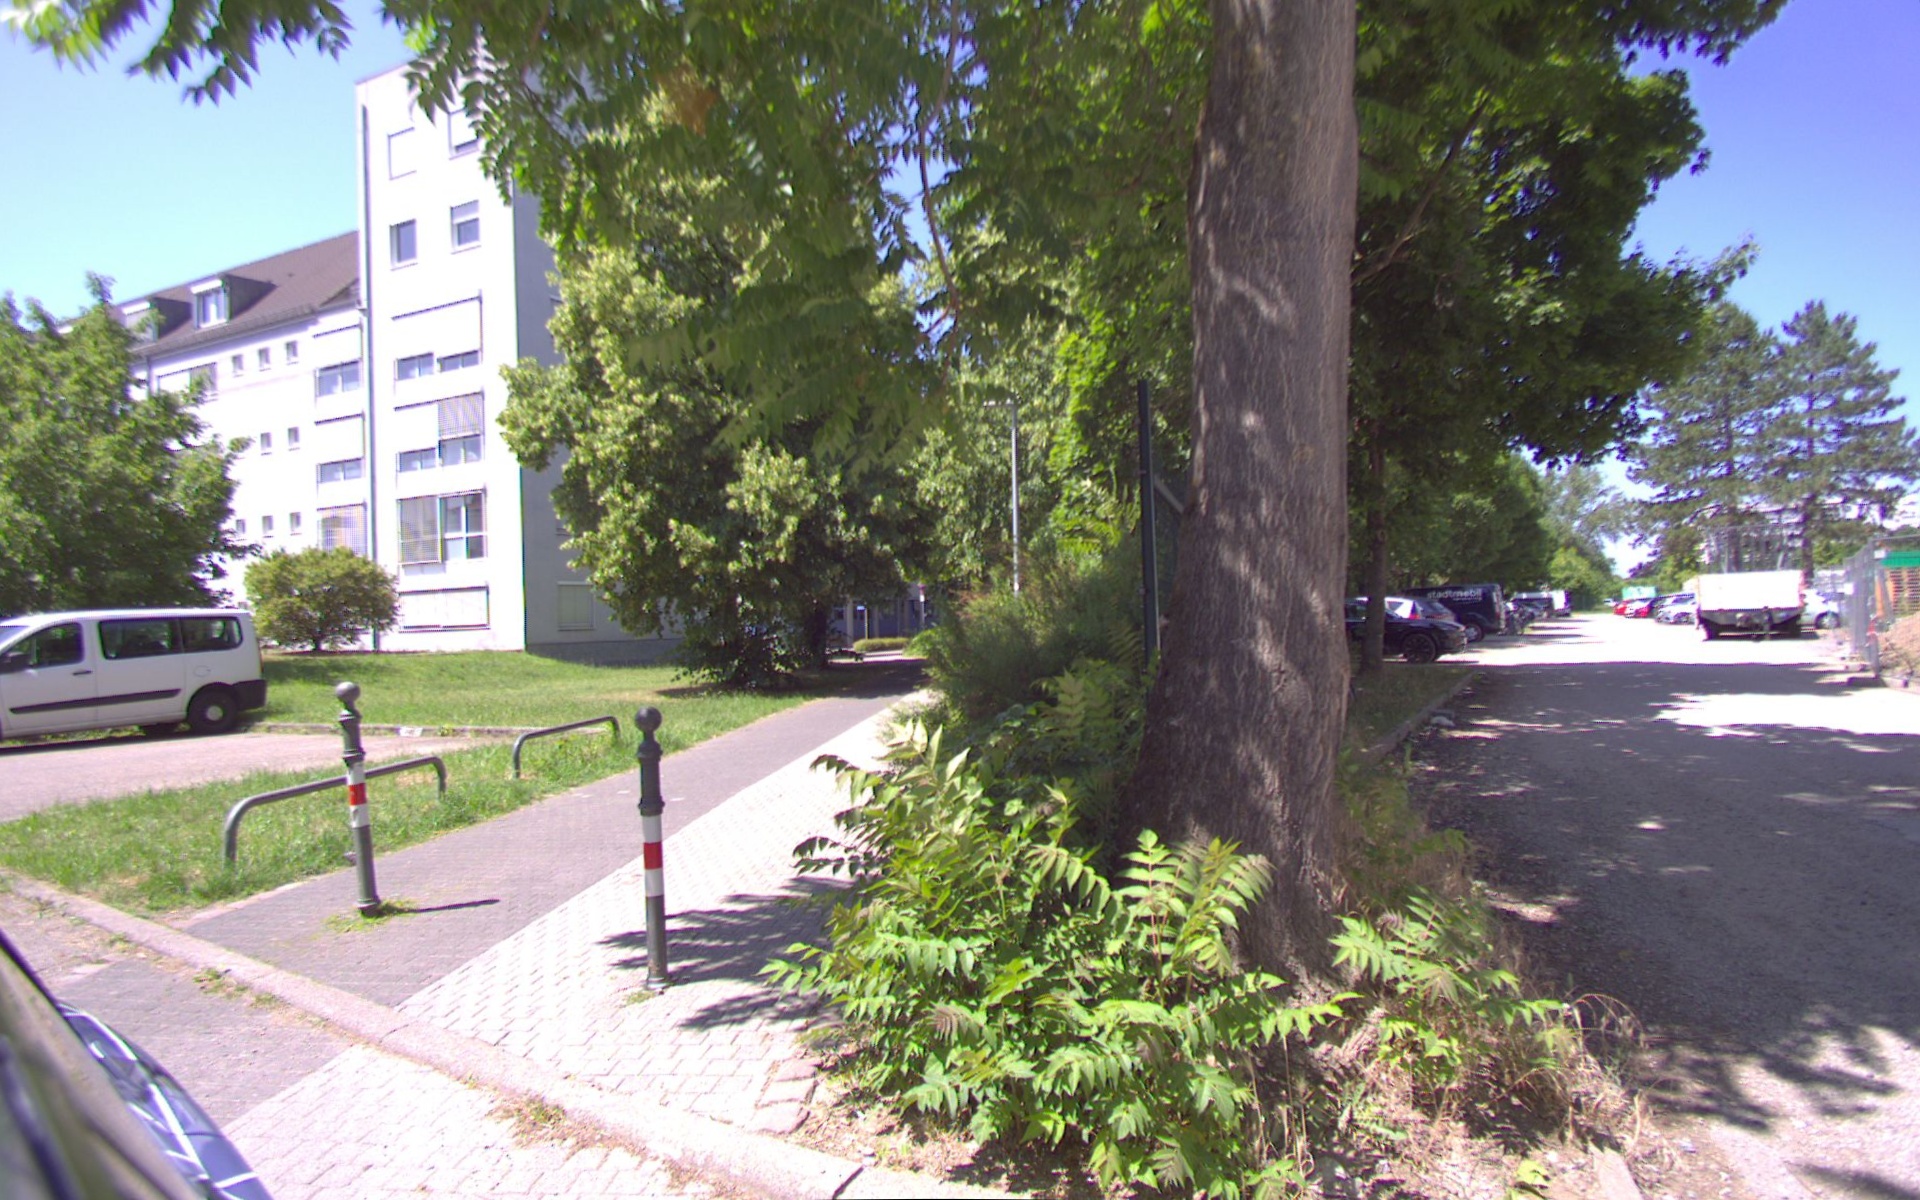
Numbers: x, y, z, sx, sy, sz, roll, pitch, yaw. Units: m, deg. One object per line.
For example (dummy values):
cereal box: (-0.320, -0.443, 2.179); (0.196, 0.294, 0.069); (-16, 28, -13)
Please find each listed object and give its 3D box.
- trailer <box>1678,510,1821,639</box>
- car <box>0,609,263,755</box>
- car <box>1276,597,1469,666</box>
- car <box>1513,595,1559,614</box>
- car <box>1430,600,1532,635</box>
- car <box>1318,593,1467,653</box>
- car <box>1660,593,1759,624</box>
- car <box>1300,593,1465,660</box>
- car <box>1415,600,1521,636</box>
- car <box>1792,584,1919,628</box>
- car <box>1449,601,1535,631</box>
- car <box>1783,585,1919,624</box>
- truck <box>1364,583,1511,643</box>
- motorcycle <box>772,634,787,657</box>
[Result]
trailer: (24.487, -0.691, 31.349); (3.039, 3.447, 8.657); (-2, -1, 39)
car: (-13.150, 1.146, 14.578); (1.990, 1.926, 4.761); (-3, -2, 26)
car: (9.744, 0.745, 23.971); (3.987, 1.514, 1.671); (-2, -1, 33)
car: (56.012, 0.450, 98.414); (3.779, 1.734, 1.721); (-2, -1, 33)
car: (22.551, 0.746, 43.849); (3.779, 1.420, 1.721); (-2, -1, 33)
car: (12.628, 0.690, 29.605); (3.776, 1.647, 1.828); (-2, -1, 31)
car: (37.191, 0.434, 50.333); (3.779, 1.420, 1.721); (-2, -1, 33)
car: (11.108, 0.703, 26.665); (3.776, 1.647, 1.828); (-2, -1, 31)
car: (21.197, 0.768, 42.274); (3.779, 1.420, 1.721); (-2, -1, 33)
car: (31.321, 0.204, 34.927); (3.779, 1.420, 1.721); (-2, -1, 33)
car: (27.415, 0.824, 52.152); (3.779, 1.420, 1.721); (-2, -1, 33)
car: (34.279, 0.188, 39.002); (3.779, 1.420, 1.721); (-2, -1, 33)
truck: (16.860, 0.485, 35.827); (4.445, 2.009, 1.977); (-2, -1, 34)
motorcycle: (-9.748, 2.448, 54.761); (0.689, 1.176, 2.336); (-1, -1, -8)
